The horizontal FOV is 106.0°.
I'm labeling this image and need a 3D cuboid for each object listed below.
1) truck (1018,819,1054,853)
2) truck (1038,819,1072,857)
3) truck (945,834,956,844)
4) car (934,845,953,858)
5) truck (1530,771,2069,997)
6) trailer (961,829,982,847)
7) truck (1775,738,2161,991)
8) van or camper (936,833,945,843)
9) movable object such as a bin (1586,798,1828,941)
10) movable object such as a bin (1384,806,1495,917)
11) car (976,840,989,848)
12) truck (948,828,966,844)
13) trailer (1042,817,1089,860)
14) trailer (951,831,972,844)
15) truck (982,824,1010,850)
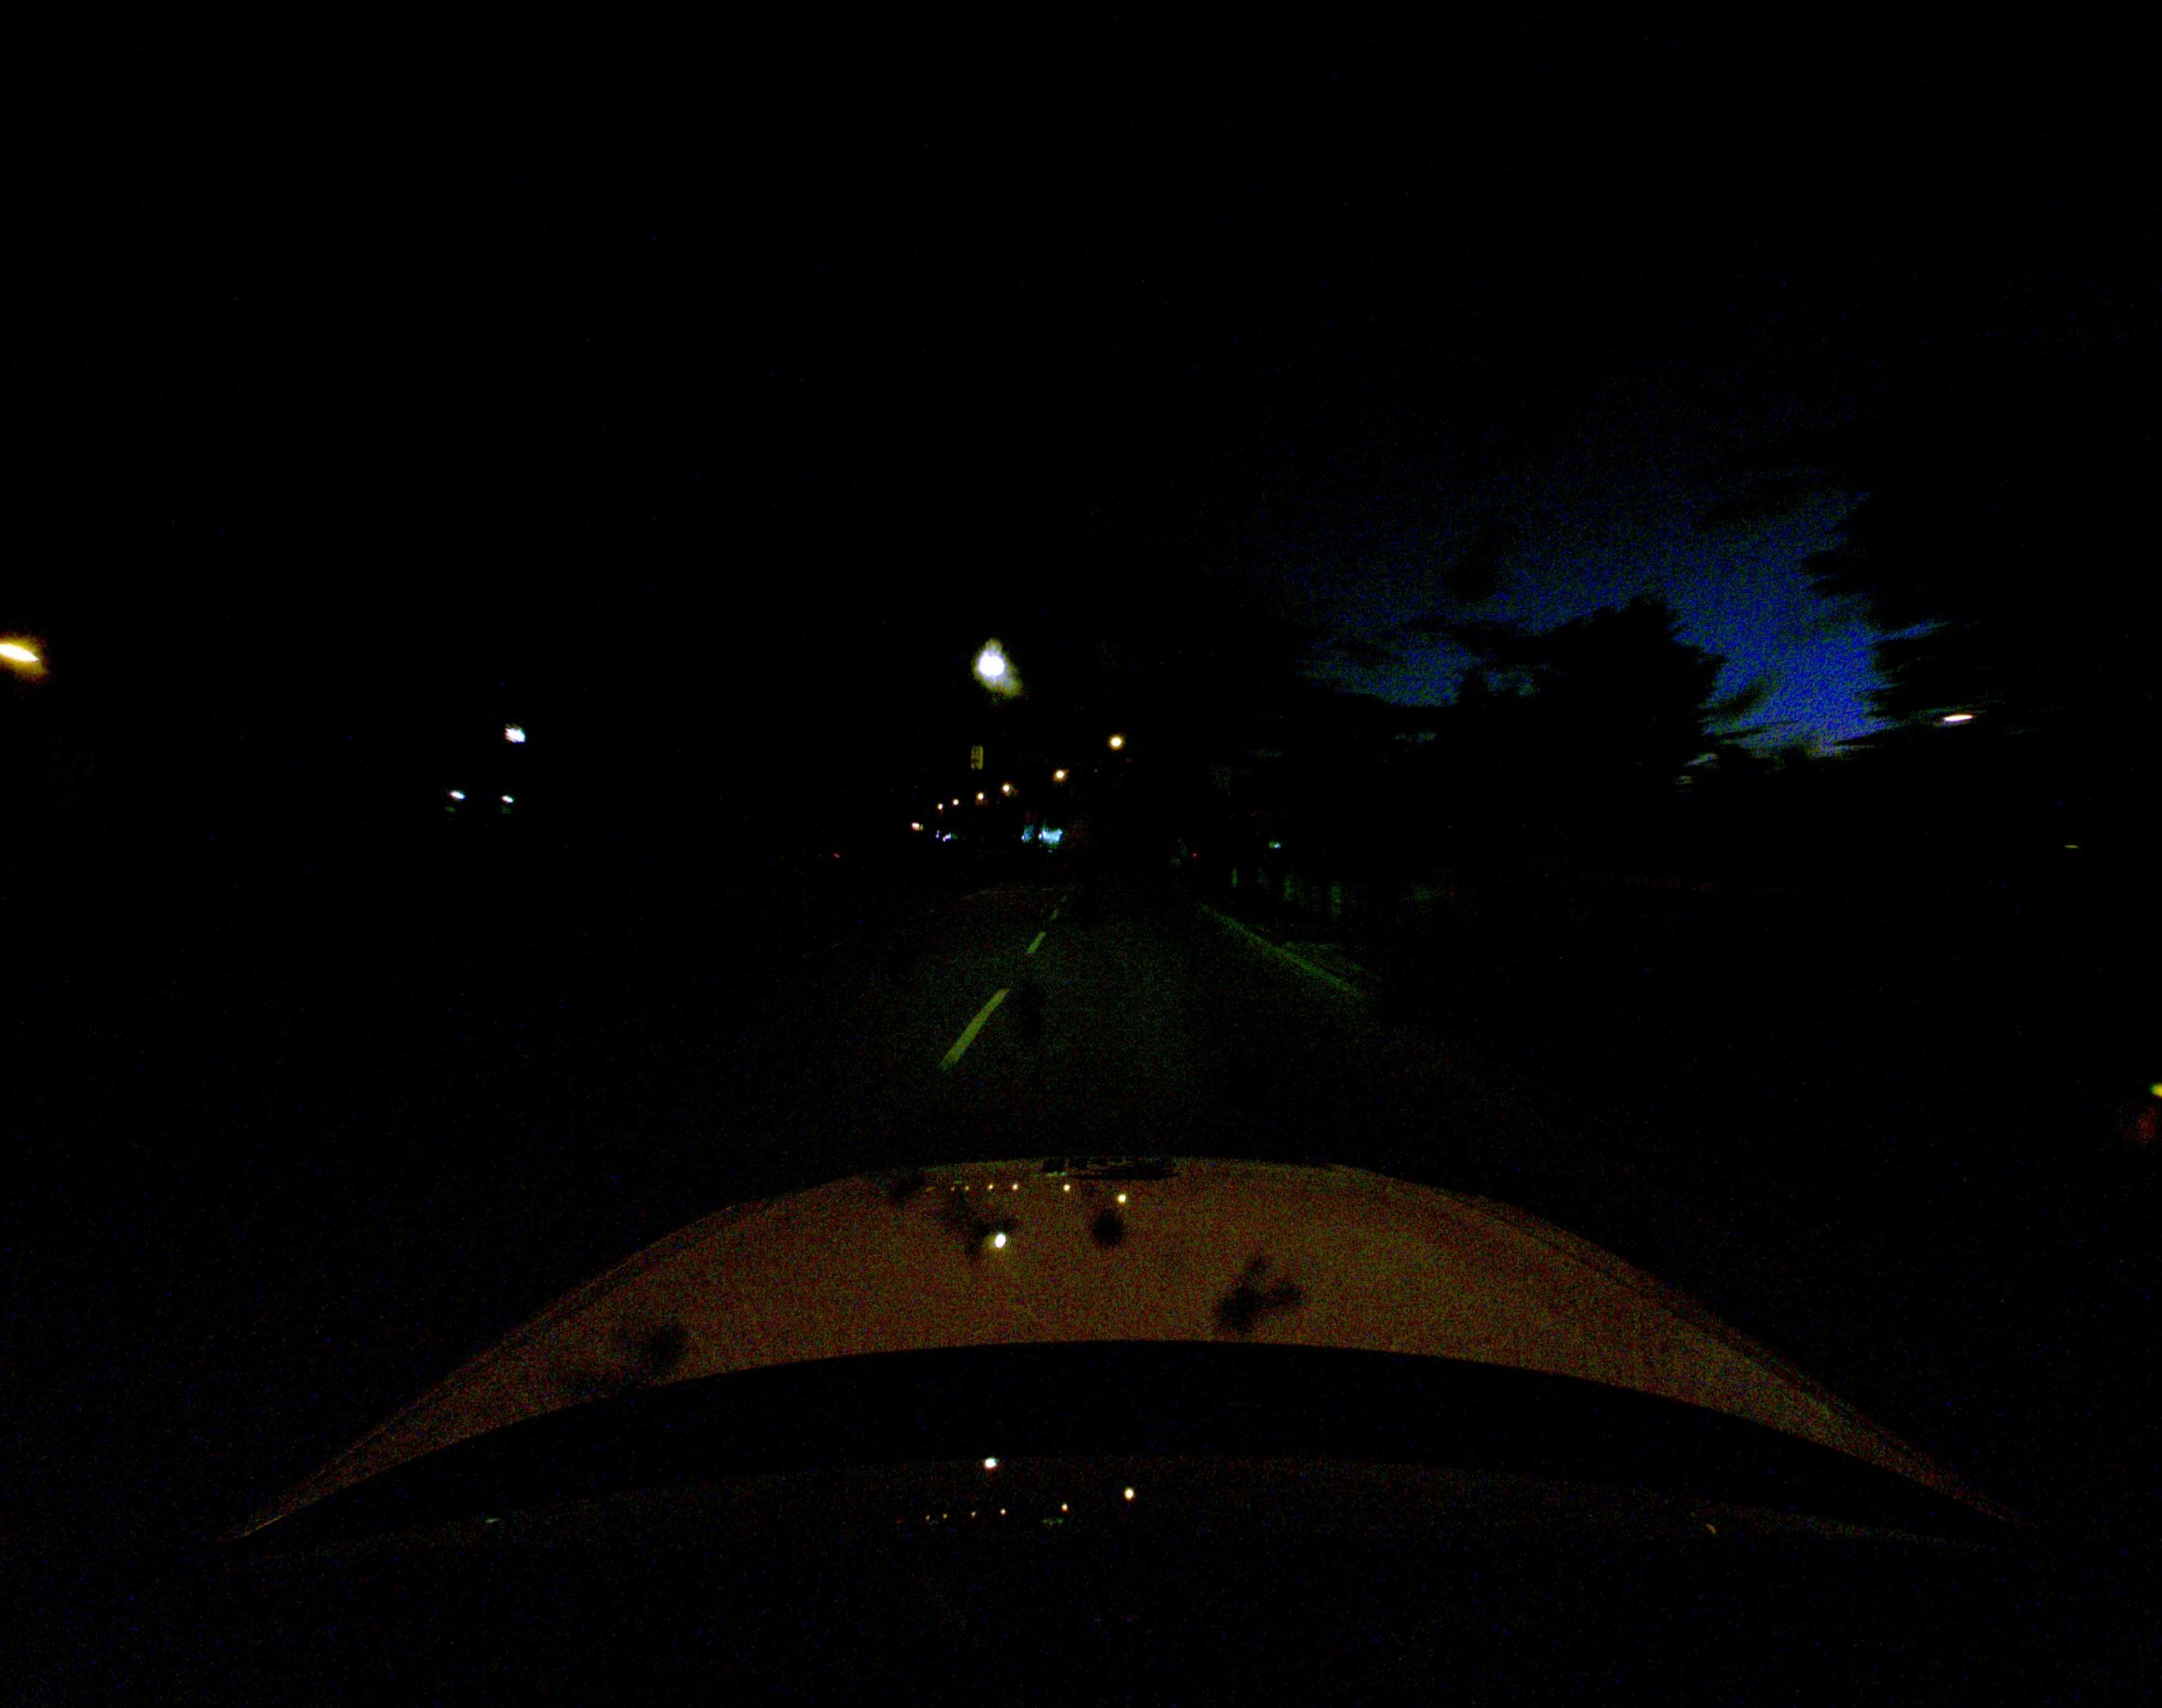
[{"bbox_3d":[-5.641,-2.171,99.908,2.833,3.983,10.299,-1,1,-12],"label":"truck"},{"bbox_3d":[-2.938,-1.790,89.621,2.831,3.983,6.029,-1,1,-11],"label":"truck"},{"bbox_3d":[-31.012,-3.526,193.732,1.997,2.407,5.266,1,1,-15],"label":"truck"},{"bbox_3d":[-18.923,-0.334,111.895,1.998,1.636,4.747,1,1,-17],"label":"car"},{"bbox_3d":[9.895,0.291,12.608,2.174,2.422,7.322,1,1,3],"label":"truck"},{"bbox_3d":[-21.464,-3.159,159.591,2.694,3.464,7.763,1,1,-18],"label":"trailer"},{"bbox_3d":[12.975,0.128,10.551,2.173,2.748,7.326,2,0,5],"label":"truck"},{"bbox_3d":[-37.034,-4.181,214.439,1.997,2.581,4.891,1,1,-14],"label":"van or camper"},{"bbox_3d":[13.310,0.279,17.678,2.220,2.724,3.864,1,1,-1],"label":"movable object such as a bin"},{"bbox_3d":[8.132,0.167,18.581,1.679,2.383,1.611,1,0,-10],"label":"movable object such as a bin"},{"bbox_3d":[-17.907,-1.853,147.426,1.856,1.519,3.799,-1,1,-15],"label":"car"},{"bbox_3d":[-27.715,-3.962,182.075,3.157,3.463,6.639,-1,1,-15],"label":"truck"},{"bbox_3d":[-1.767,-1.601,82.822,2.809,3.983,13.929,-1,1,-10],"label":"trailer"},{"bbox_3d":[-25.856,-3.481,175.223,3.190,2.748,10.661,-1,1,-15],"label":"trailer"},{"bbox_3d":[-13.819,-2.807,132.249,3.522,3.983,10.303,-1,1,-11],"label":"truck"}]
